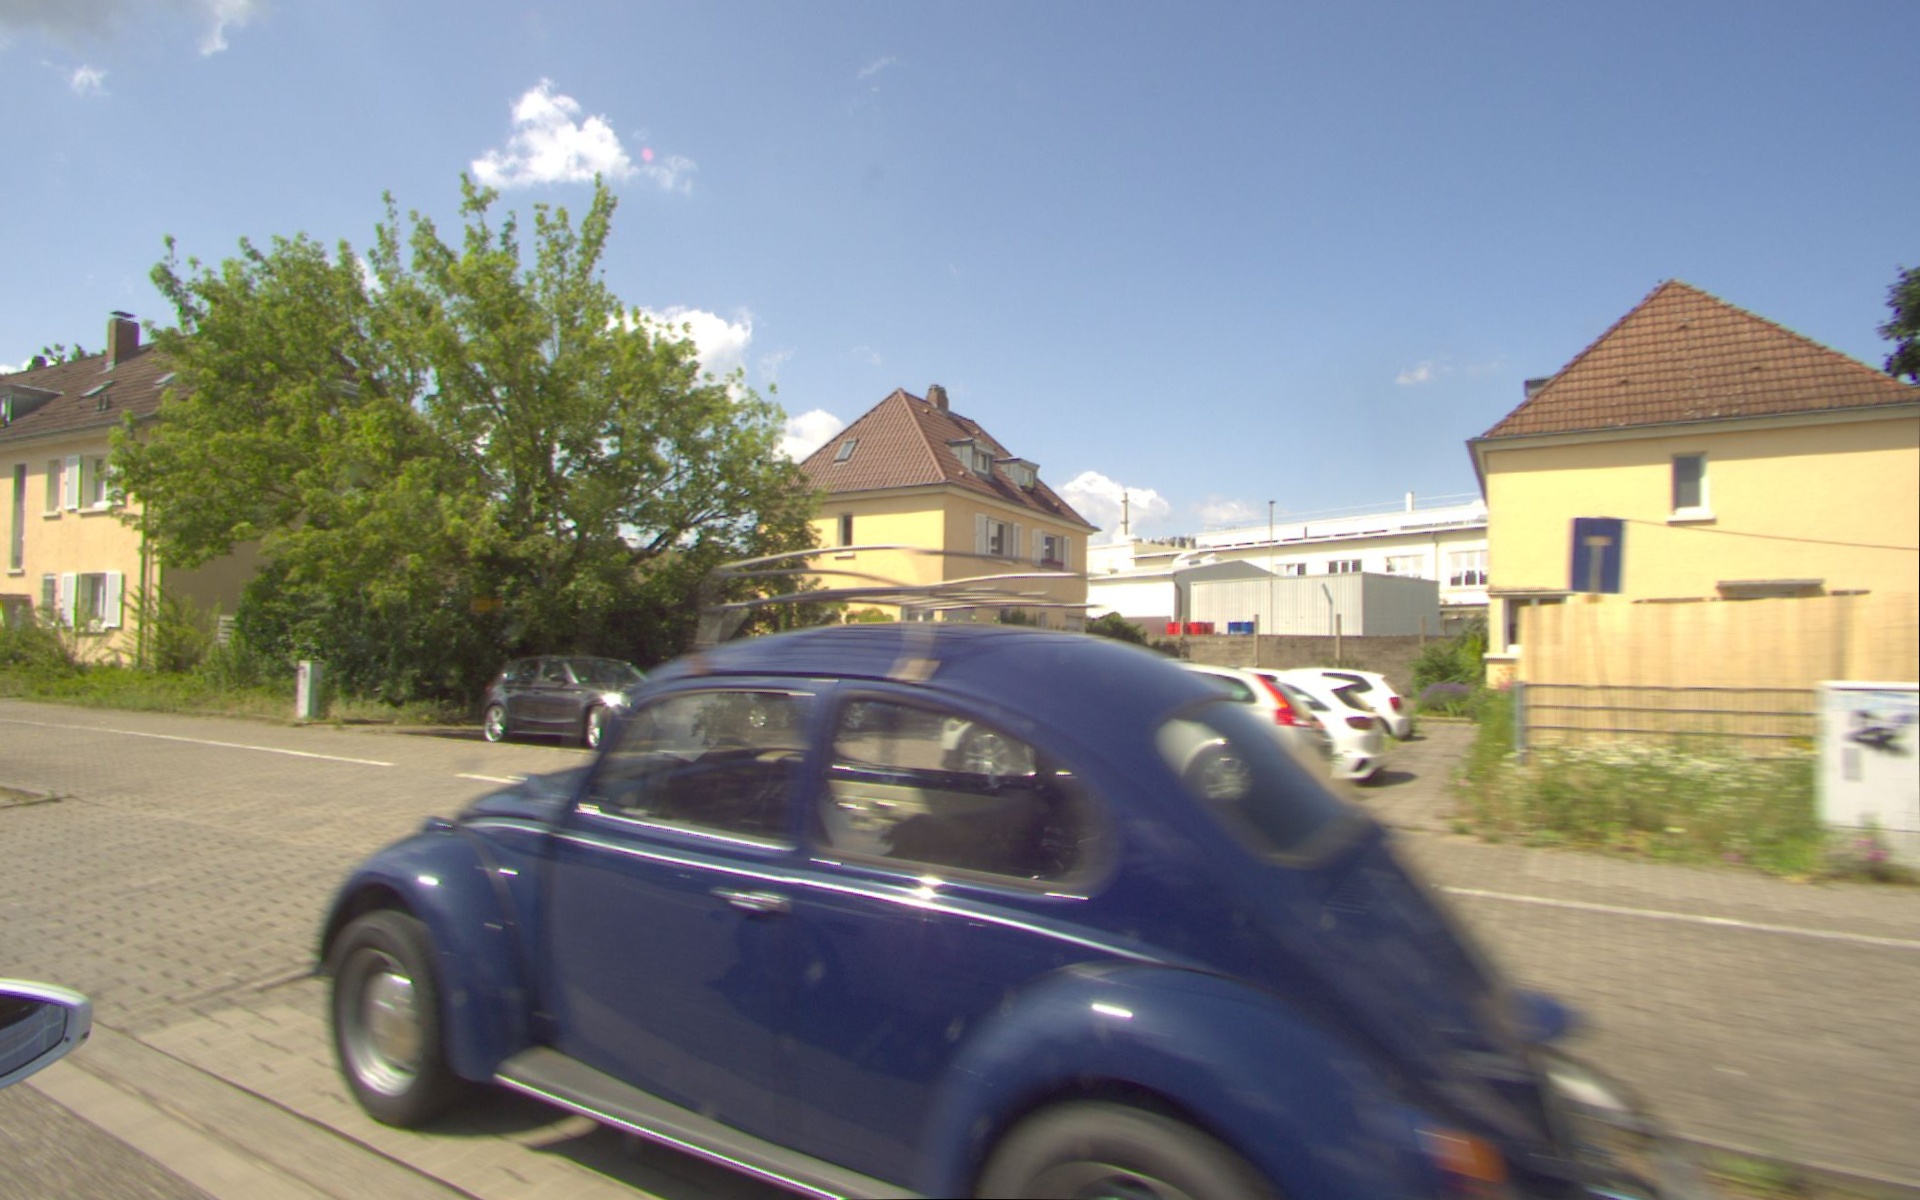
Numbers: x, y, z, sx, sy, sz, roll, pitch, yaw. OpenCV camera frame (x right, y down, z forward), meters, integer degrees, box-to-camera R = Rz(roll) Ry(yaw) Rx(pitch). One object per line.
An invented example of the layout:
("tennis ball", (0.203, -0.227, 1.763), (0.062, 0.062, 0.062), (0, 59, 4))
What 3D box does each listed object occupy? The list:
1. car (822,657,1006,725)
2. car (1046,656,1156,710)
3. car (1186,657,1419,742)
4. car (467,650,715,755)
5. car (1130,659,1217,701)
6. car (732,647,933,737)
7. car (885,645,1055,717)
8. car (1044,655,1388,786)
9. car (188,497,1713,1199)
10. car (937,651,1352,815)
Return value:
("car", (-1.091, 2.035, 23.069), (4.029, 1.418, 1.634), (-1, -4, 32))
("car", (4.161, 2.390, 29.080), (1.619, 1.453, 4.069), (-3, -5, 32))
("car", (6.452, 1.856, 19.067), (4.016, 1.390, 1.640), (0, -4, 20))
("car", (-5.746, 1.490, 15.425), (4.034, 1.372, 1.632), (-1, -3, 36))
("car", (7.464, 2.758, 34.763), (1.619, 1.381, 4.069), (-3, -5, 32))
("car", (-2.682, 1.834, 20.817), (4.029, 1.567, 1.633), (-1, 0, 32))
("car", (0.222, 2.047, 25.344), (4.030, 1.685, 1.634), (-3, -4, 32))
("car", (3.260, 1.444, 12.886), (4.025, 1.391, 1.636), (-1, -3, 28))
("car", (-0.428, 0.755, 3.062), (4.183, 1.661, 1.548), (-1, -3, 30))
("car", (1.906, 1.271, 10.594), (4.025, 1.391, 1.636), (-1, -3, 28))
